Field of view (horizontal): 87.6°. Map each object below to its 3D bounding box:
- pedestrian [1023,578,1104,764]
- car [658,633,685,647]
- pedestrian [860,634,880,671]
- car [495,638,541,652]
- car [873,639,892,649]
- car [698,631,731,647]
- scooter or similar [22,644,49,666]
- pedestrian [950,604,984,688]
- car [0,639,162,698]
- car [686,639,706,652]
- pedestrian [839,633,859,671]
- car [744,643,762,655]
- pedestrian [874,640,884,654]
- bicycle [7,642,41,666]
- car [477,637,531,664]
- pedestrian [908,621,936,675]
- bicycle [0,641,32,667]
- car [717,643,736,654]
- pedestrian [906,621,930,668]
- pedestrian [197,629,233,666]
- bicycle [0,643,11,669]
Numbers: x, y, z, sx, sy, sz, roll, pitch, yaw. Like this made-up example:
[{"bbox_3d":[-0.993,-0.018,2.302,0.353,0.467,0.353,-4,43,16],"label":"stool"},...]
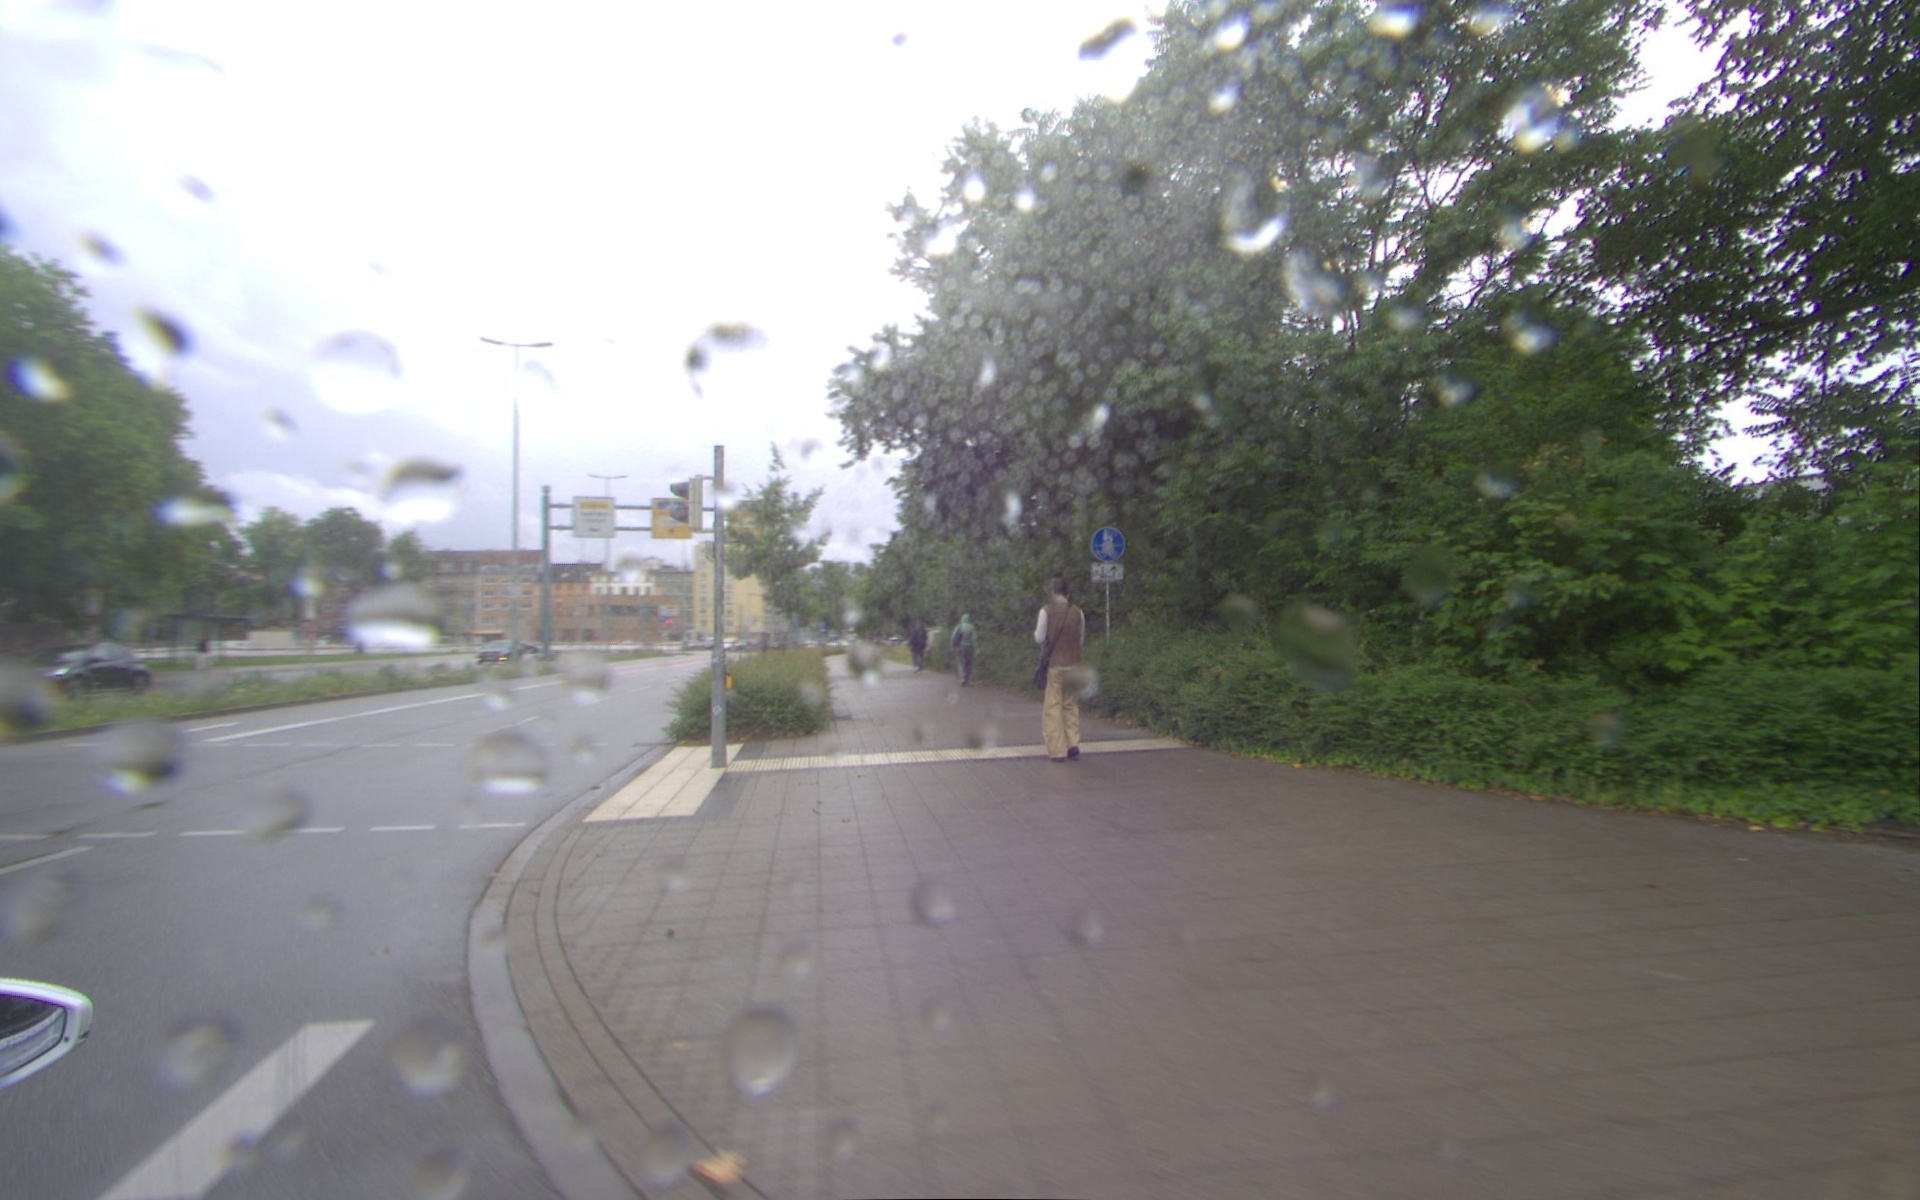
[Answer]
[{"bbox_3d":[1.080,0.735,10.602,0.718,1.883,0.851,0,-1,-3],"label":"pedestrian"},{"bbox_3d":[-62.908,8.722,218.371,5.264,2.924,2.340,0,-1,-3],"label":"car"},{"bbox_3d":[-4.293,2.505,47.771,0.918,1.727,0.828,1,1,-5],"label":"pedestrian"},{"bbox_3d":[-45.975,4.726,104.257,4.127,1.420,1.617,1,-2,-13],"label":"car"},{"bbox_3d":[-12.988,7.385,167.890,1.763,1.664,4.156,0,-2,15],"label":"car"},{"bbox_3d":[-53.663,8.431,218.681,6.632,3.423,2.810,0,-1,-3],"label":"car"},{"bbox_3d":[-45.446,2.679,49.224,0.565,1.060,1.357,1,-2,-25],"label":"scooter or similar"},{"bbox_3d":[0.168,1.140,24.905,0.778,2.039,0.829,0,-1,-3],"label":"pedestrian"},{"bbox_3d":[-23.493,1.770,26.721,1.598,1.433,4.066,-1,-2,-9],"label":"car"},{"bbox_3d":[-35.021,5.985,132.978,1.677,1.727,3.822,0,-2,-1],"label":"car"},{"bbox_3d":[-5.282,2.455,47.667,0.918,1.744,0.828,1,1,-5],"label":"pedestrian"},{"bbox_3d":[-29.298,6.925,141.562,1.961,1.656,4.604,-2,-2,-5],"label":"car"},{"bbox_3d":[-8.778,5.080,108.318,1.006,1.608,0.937,0,-1,4],"label":"pedestrian"},{"bbox_3d":[-44.786,2.572,47.940,0.566,1.150,1.984,1,-2,-25],"label":"bicycle"},{"bbox_3d":[-28.884,3.170,63.631,1.780,1.559,4.704,-1,-2,-7],"label":"car"},{"bbox_3d":[-1.293,1.614,33.828,0.918,1.770,1.046,0,-1,-3],"label":"pedestrian"},{"bbox_3d":[-43.648,2.484,46.232,0.566,1.150,1.984,1,-2,-25],"label":"bicycle"},{"bbox_3d":[-31.000,6.455,133.213,1.652,1.422,4.160,-1,-2,-1],"label":"car"},{"bbox_3d":[-1.651,1.720,39.241,0.918,1.820,0.829,0,-1,-3],"label":"pedestrian"},{"bbox_3d":[-35.300,2.246,47.462,0.855,1.717,1.398,1,-2,-15],"label":"pedestrian"},{"bbox_3d":[-42.675,2.480,44.181,0.566,1.150,1.984,1,-2,-25],"label":"bicycle"}]
